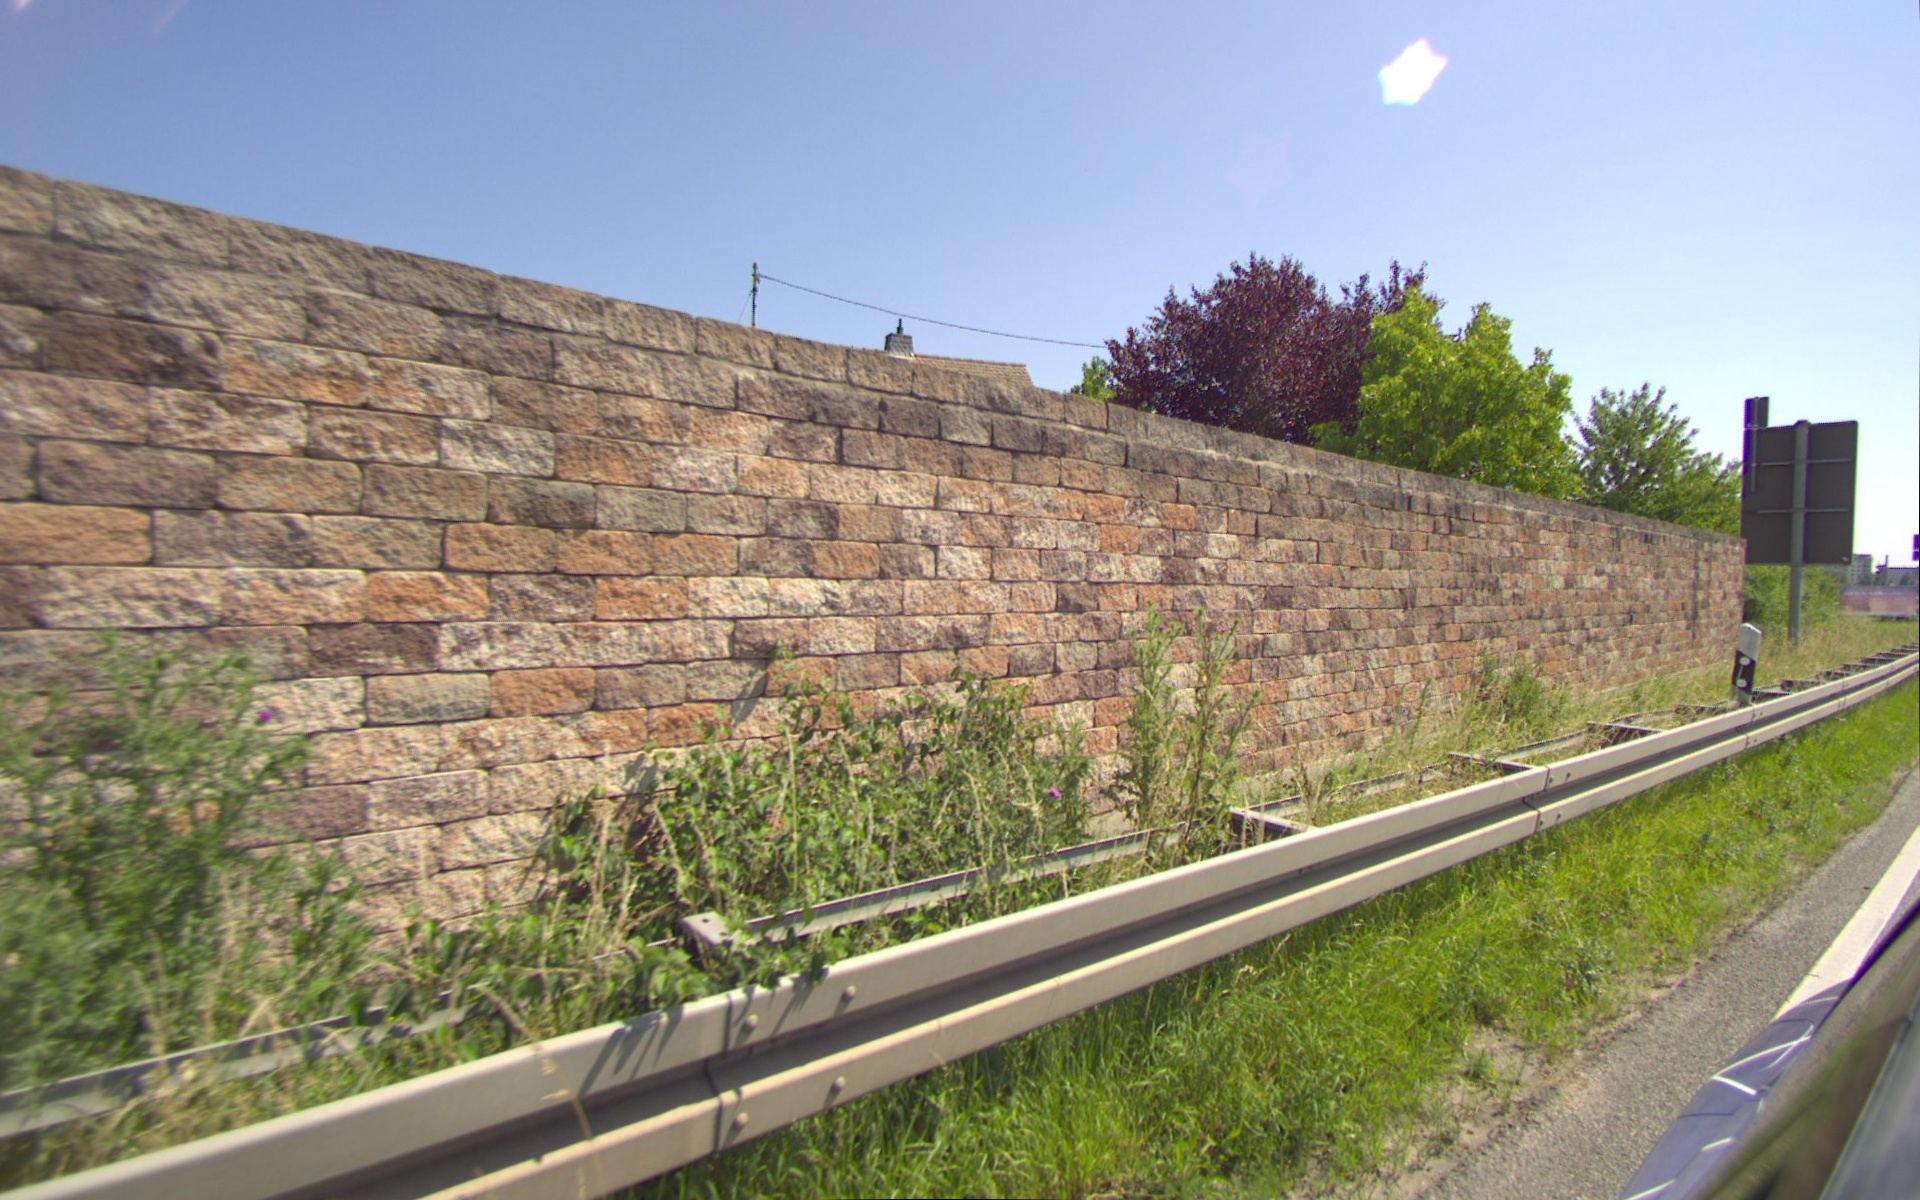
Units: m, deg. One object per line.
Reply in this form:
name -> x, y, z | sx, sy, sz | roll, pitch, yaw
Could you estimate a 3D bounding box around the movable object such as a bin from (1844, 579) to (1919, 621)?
movable object such as a bin -> 53.962, -0.016, 58.661 | 4.093, 2.360, 1.258 | 1, 1, 43
